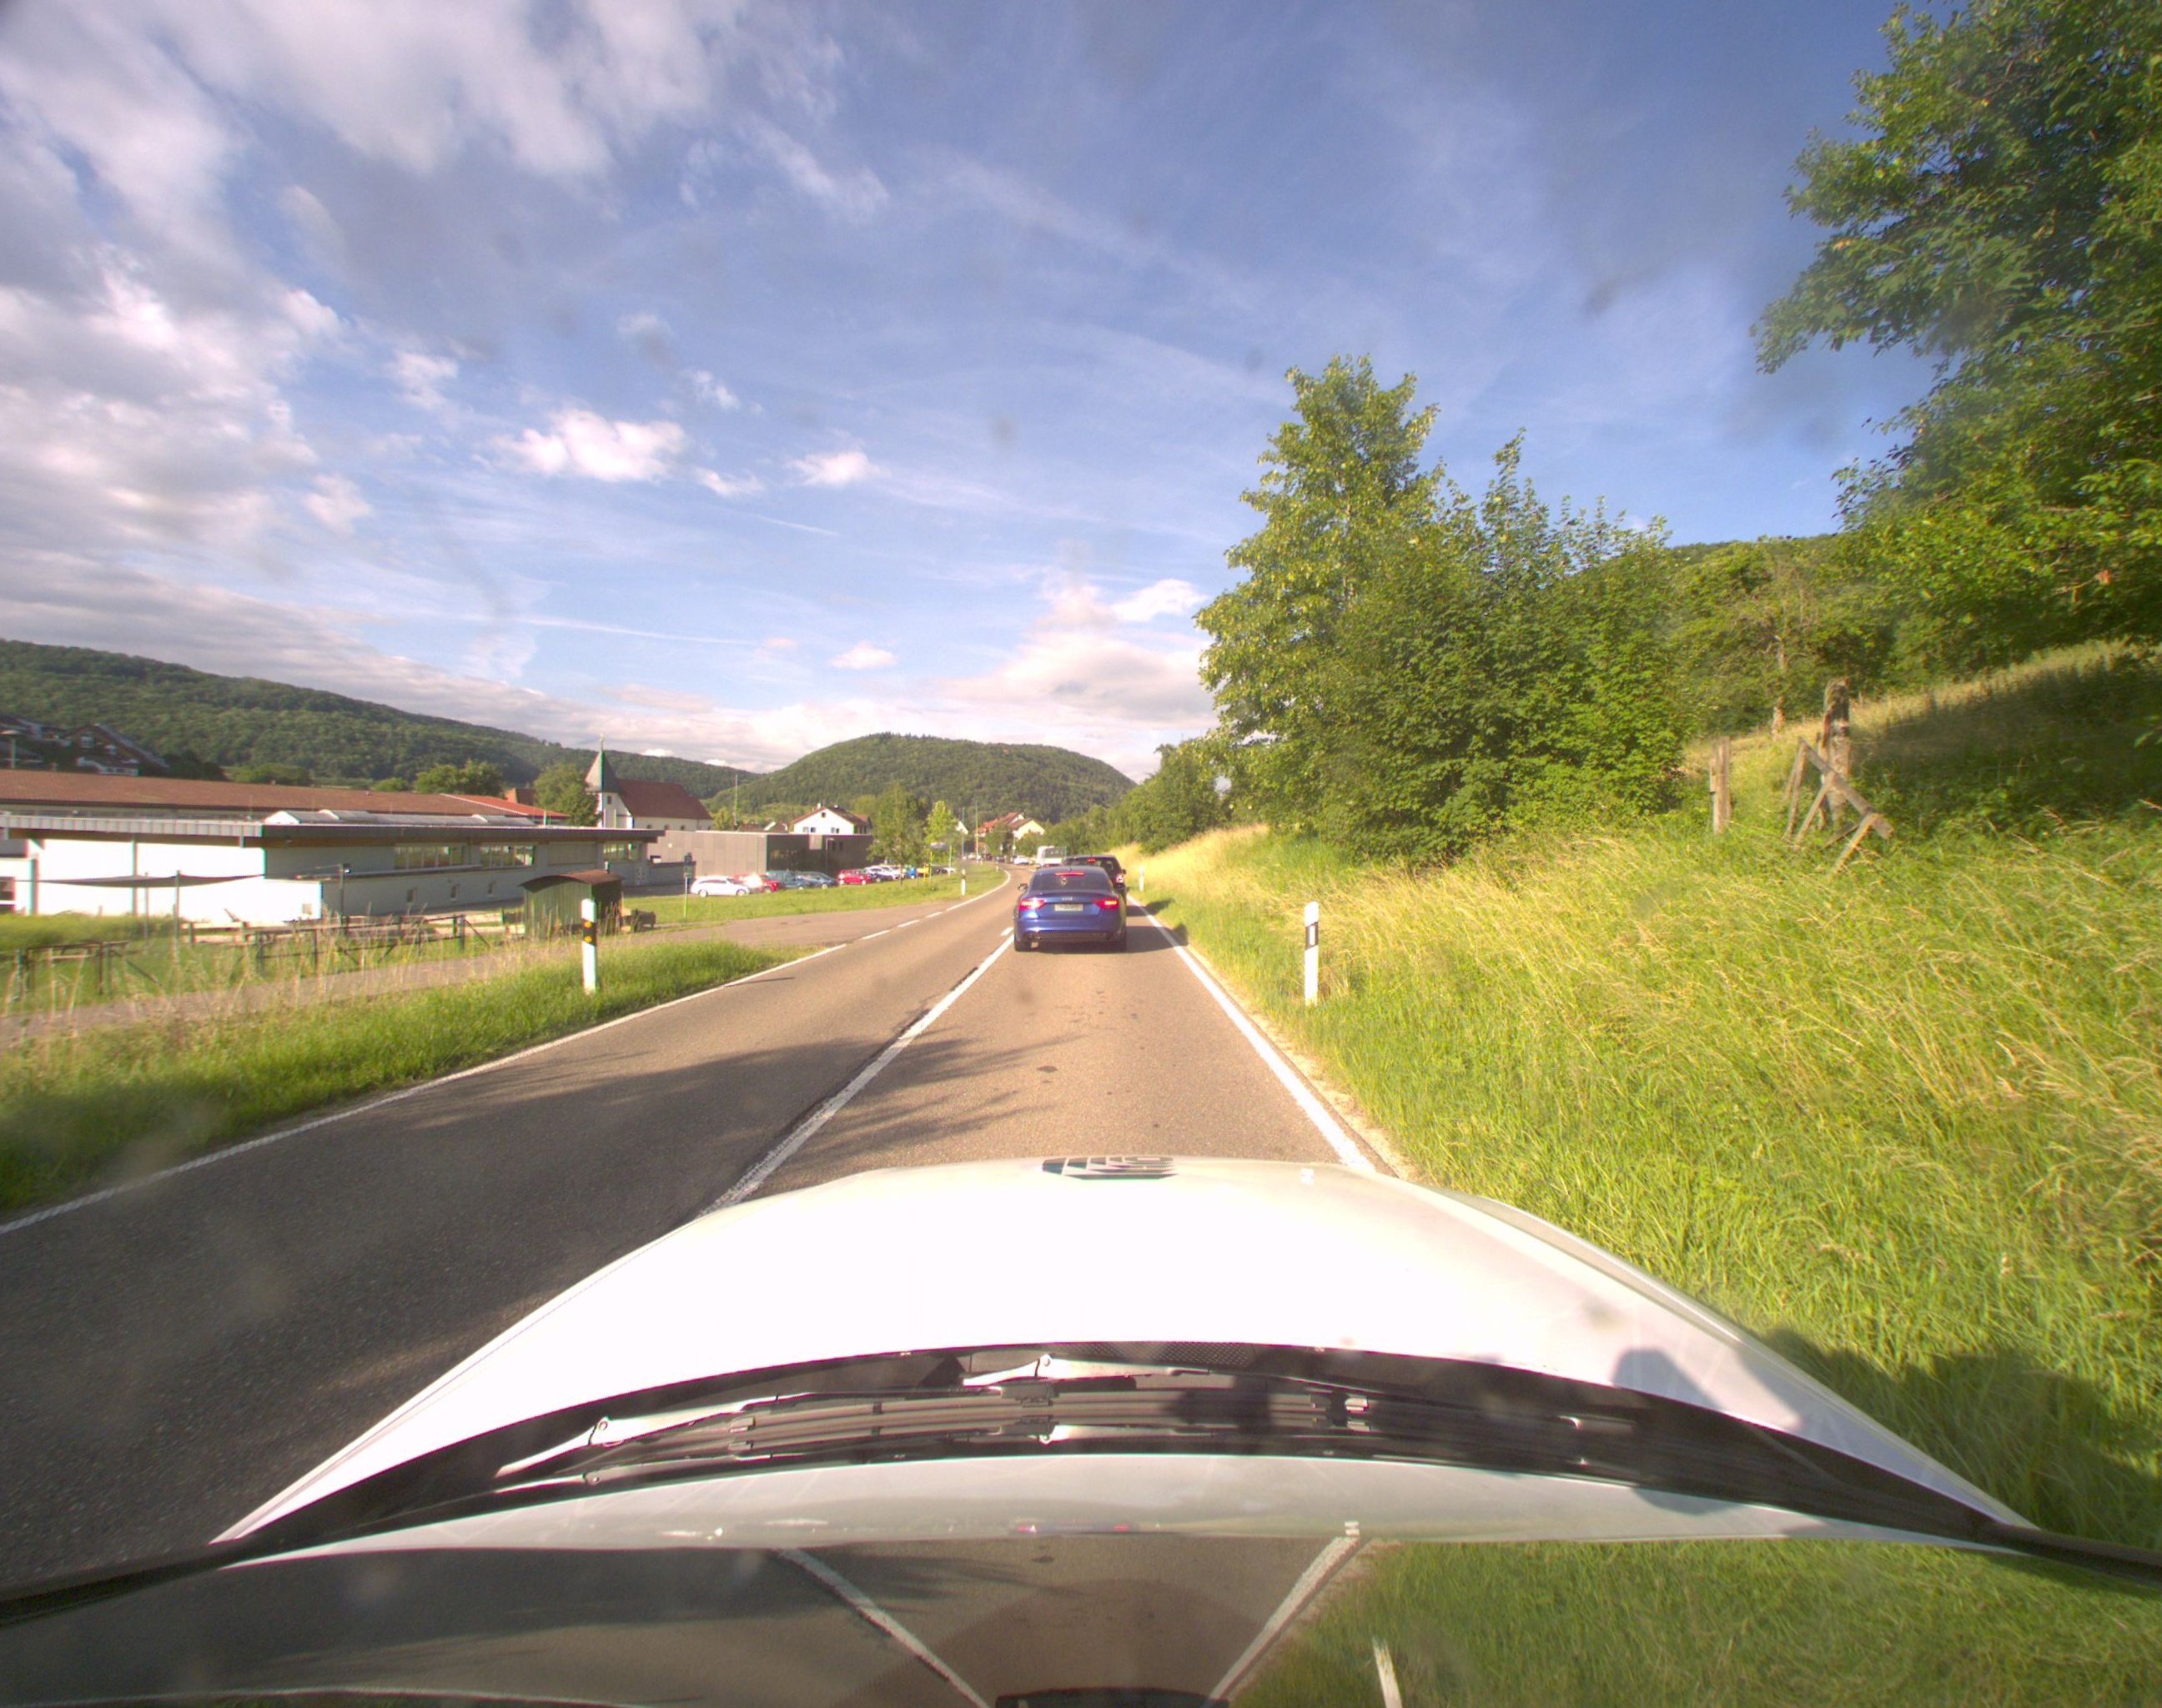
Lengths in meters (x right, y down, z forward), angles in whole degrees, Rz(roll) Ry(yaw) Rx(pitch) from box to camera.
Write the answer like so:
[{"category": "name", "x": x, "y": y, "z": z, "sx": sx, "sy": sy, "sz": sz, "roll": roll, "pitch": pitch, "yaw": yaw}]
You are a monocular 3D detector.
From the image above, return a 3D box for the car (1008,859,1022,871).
[{"category": "car", "x": -10.798, "y": 1.845, "z": 133.473, "sx": 1.661, "sy": 1.924, "sz": 3.982, "roll": -2, "pitch": 0, "yaw": -13}]

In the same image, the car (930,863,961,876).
[{"category": "car", "x": -19.551, "y": 2.242, "z": 117.742, "sx": 4.015, "sy": 1.660, "sz": 1.658, "roll": -2, "pitch": -1, "yaw": 6}]

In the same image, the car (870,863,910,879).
[{"category": "car", "x": -22.183, "y": 2.009, "z": 94.676, "sx": 4.056, "sy": 1.673, "sz": 1.599, "roll": -2, "pitch": -1, "yaw": 6}]

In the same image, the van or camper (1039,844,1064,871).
[{"category": "van or camper", "x": -3.197, "y": 0.387, "z": 87.399, "sx": 2.277, "sy": 2.714, "sz": 5.757, "roll": -2, "pitch": 0, "yaw": -5}]

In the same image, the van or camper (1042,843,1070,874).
[{"category": "van or camper", "x": -2.191, "y": 0.387, "z": 70.115, "sx": 2.048, "sy": 2.505, "sz": 5.802, "roll": -2, "pitch": 0, "yaw": -4}]

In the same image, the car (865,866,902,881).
[{"category": "car", "x": -22.187, "y": 2.179, "z": 91.412, "sx": 3.647, "sy": 1.494, "sz": 1.599, "roll": -2, "pitch": -1, "yaw": 6}]

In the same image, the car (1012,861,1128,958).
[{"category": "car", "x": -0.099, "y": 0.846, "z": 13.998, "sx": 1.736, "sy": 1.450, "sz": 3.518, "roll": 0, "pitch": 0, "yaw": 2}]

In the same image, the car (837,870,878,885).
[{"category": "car", "x": -22.785, "y": 2.348, "z": 83.050, "sx": 3.606, "sy": 1.444, "sz": 1.651, "roll": 0, "pitch": 1, "yaw": 6}]

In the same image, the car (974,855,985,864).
[{"category": "car", "x": -21.937, "y": 1.174, "z": 175.788, "sx": 1.681, "sy": 1.924, "sz": 3.976, "roll": -2, "pitch": -1, "yaw": -17}]

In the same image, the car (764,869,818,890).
[{"category": "car", "x": -24.313, "y": 2.146, "z": 68.358, "sx": 3.845, "sy": 1.722, "sz": 1.757, "roll": -1, "pitch": -1, "yaw": 3}]

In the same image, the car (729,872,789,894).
[{"category": "car", "x": -24.787, "y": 2.206, "z": 62.732, "sx": 3.901, "sy": 1.579, "sz": 1.758, "roll": -2, "pitch": -1, "yaw": 5}]

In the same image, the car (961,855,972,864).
[{"category": "car", "x": -26.966, "y": 1.337, "z": 191.658, "sx": 1.960, "sy": 1.924, "sz": 3.976, "roll": -2, "pitch": 0, "yaw": -18}]

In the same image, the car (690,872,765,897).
[{"category": "car", "x": -25.927, "y": 2.246, "z": 59.808, "sx": 4.618, "sy": 1.589, "sz": 2.003, "roll": -2, "pitch": 0, "yaw": 5}]

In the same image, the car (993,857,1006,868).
[{"category": "car", "x": -15.093, "y": 1.547, "z": 150.378, "sx": 1.663, "sy": 1.924, "sz": 3.978, "roll": -2, "pitch": 0, "yaw": -16}]

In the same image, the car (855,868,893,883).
[{"category": "car", "x": -22.370, "y": 2.338, "z": 88.057, "sx": 3.606, "sy": 1.405, "sz": 1.599, "roll": -2, "pitch": -1, "yaw": 6}]

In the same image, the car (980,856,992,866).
[{"category": "car", "x": -19.473, "y": 1.477, "z": 166.620, "sx": 1.681, "sy": 1.924, "sz": 3.976, "roll": -2, "pitch": -1, "yaw": -17}]

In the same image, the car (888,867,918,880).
[{"category": "car", "x": -21.967, "y": 2.398, "z": 100.627, "sx": 3.360, "sy": 1.373, "sz": 1.659, "roll": -2, "pitch": 0, "yaw": -2}]

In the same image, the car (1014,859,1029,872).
[{"category": "car", "x": -8.961, "y": 1.698, "z": 121.939, "sx": 1.660, "sy": 1.924, "sz": 3.984, "roll": -2, "pitch": 0, "yaw": -11}]

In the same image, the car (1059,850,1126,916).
[{"category": "car", "x": 0.257, "y": 0.728, "z": 21.995, "sx": 1.641, "sy": 1.625, "sz": 3.515, "roll": 0, "pitch": 0, "yaw": -1}]

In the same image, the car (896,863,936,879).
[{"category": "car", "x": -20.932, "y": 2.149, "z": 103.190, "sx": 4.530, "sy": 1.815, "sz": 1.844, "roll": -2, "pitch": -1, "yaw": 6}]

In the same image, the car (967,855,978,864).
[{"category": "car", "x": -24.414, "y": 1.279, "z": 183.724, "sx": 1.682, "sy": 1.924, "sz": 3.975, "roll": -2, "pitch": -1, "yaw": -19}]

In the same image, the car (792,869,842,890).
[{"category": "car", "x": -23.616, "y": 2.288, "z": 72.965, "sx": 3.800, "sy": 1.722, "sz": 1.734, "roll": -2, "pitch": -1, "yaw": 5}]

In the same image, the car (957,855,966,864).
[{"category": "car", "x": -29.316, "y": 1.376, "z": 199.699, "sx": 1.682, "sy": 1.924, "sz": 3.975, "roll": -2, "pitch": -1, "yaw": -19}]

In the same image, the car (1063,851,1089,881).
[{"category": "car", "x": -0.378, "y": 0.819, "z": 58.210, "sx": 1.564, "sy": 2.013, "sz": 3.995, "roll": -2, "pitch": 0, "yaw": -3}]
